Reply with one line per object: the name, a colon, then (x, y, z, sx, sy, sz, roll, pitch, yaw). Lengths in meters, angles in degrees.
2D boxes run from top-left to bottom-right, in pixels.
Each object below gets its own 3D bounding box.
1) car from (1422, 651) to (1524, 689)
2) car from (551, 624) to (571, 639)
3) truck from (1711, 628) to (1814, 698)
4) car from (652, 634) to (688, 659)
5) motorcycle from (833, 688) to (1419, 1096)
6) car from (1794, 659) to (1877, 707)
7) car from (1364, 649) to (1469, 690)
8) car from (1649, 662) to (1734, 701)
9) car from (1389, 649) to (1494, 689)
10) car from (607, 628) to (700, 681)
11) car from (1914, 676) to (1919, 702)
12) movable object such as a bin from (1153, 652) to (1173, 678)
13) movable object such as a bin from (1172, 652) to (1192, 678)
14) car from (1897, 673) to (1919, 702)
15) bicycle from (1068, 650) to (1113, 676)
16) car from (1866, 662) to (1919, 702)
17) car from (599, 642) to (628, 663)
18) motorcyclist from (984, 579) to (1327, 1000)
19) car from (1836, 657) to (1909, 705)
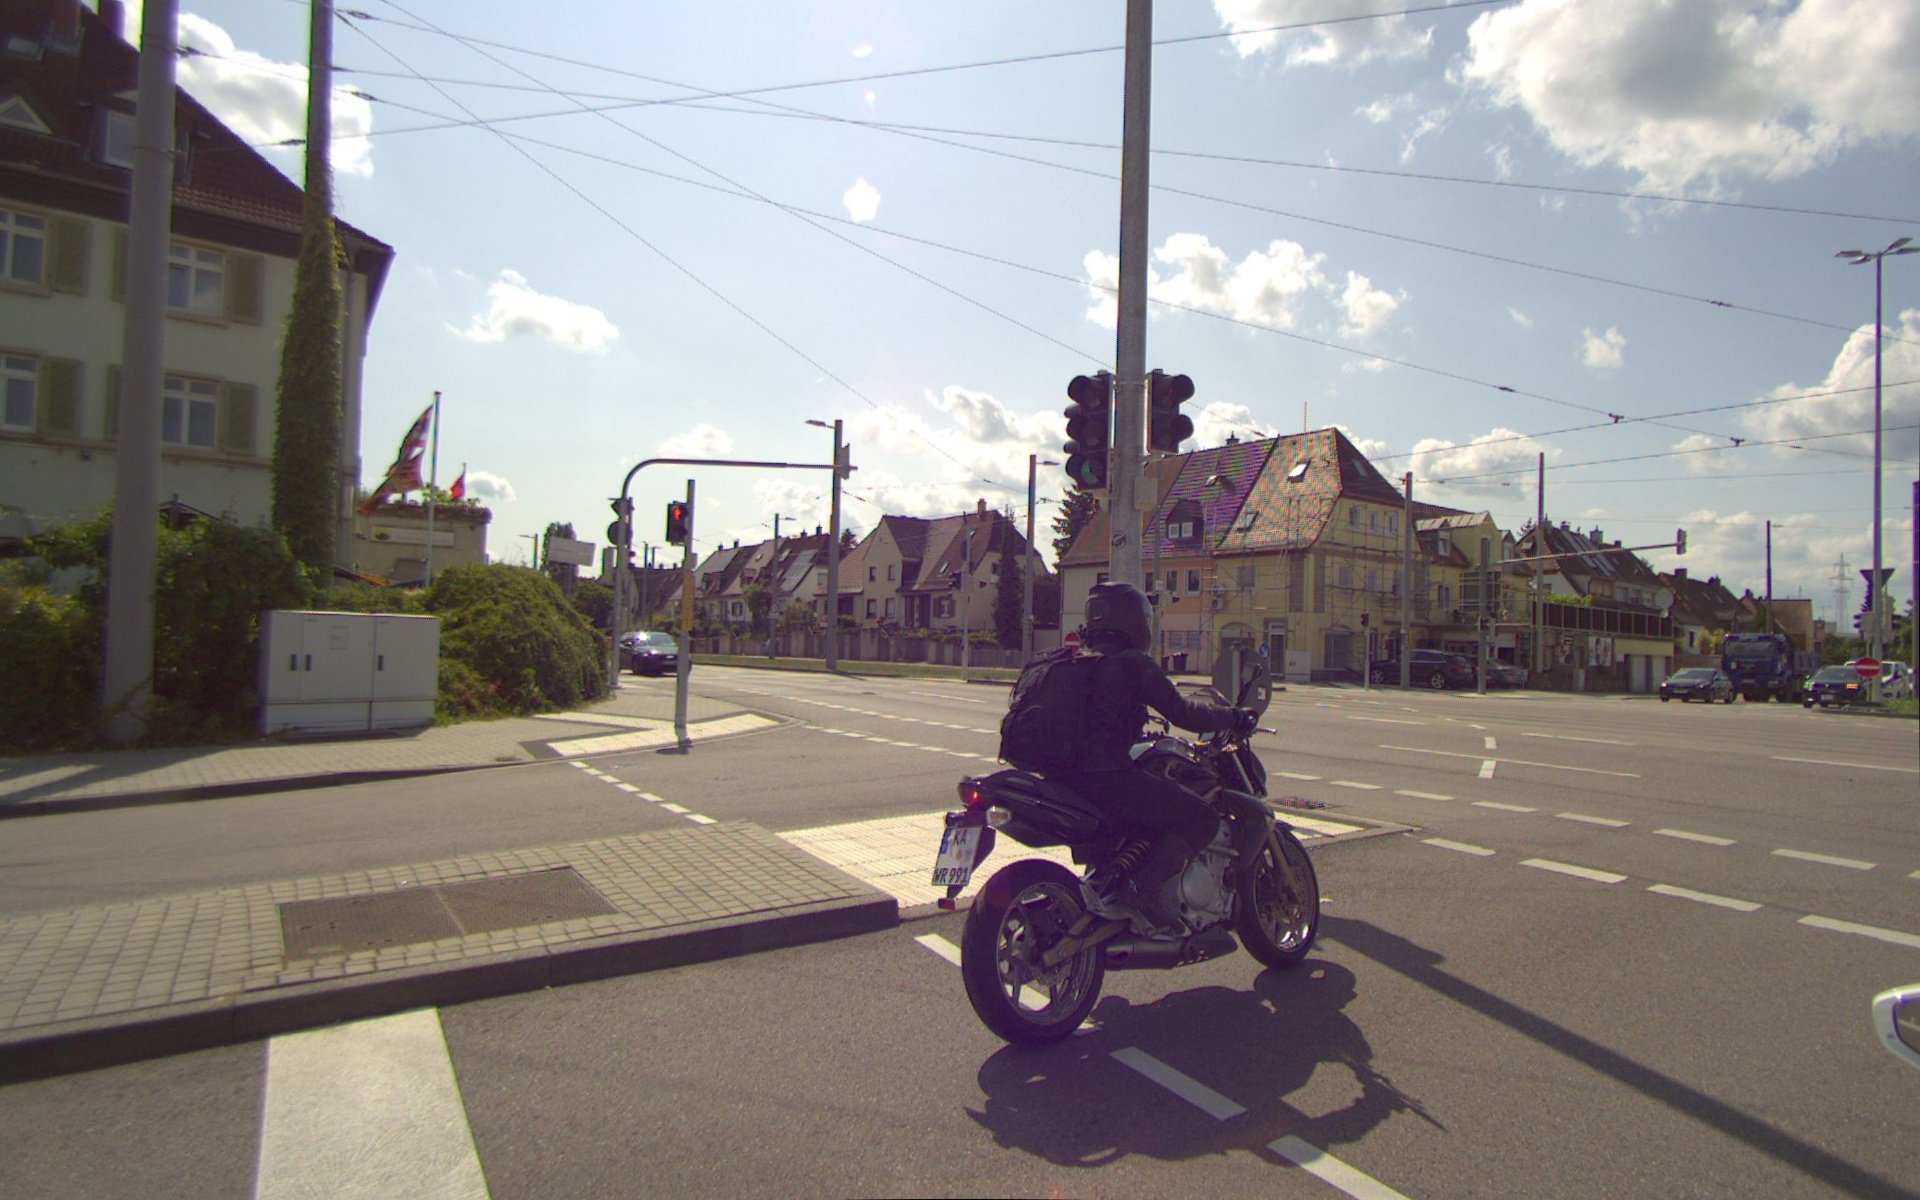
car: (24.452, 3.323, 47.978, 1.423, 1.513, 4.100, 3, -1, -40)
car: (-54.843, 4.339, 137.983, 1.977, 2.040, 3.969, 2, -3, -30)
truck: (40.136, 3.174, 50.143, 7.524, 3.230, 2.745, 4, -3, -41)
car: (-24.184, 3.867, 83.778, 1.977, 2.040, 3.969, 2, -3, -30)
motorcycle: (0.746, 0.952, 3.980, 2.333, 1.142, 0.836, 3, -3, -33)
car: (34.703, 3.250, 39.800, 4.404, 1.743, 1.772, 3, -3, -39)
car: (20.242, 3.054, 44.659, 1.170, 1.513, 4.100, 3, -1, -39)
car: (31.177, 3.468, 42.760, 4.296, 1.506, 1.814, 4, -3, -38)
car: (22.224, 3.169, 46.486, 1.495, 1.513, 4.100, 3, -1, -40)
car: (-10.129, 1.765, 33.081, 1.731, 1.604, 3.885, 3, -3, -36)
car: (56.253, 5.142, 57.572, 4.878, 1.432, 1.828, 4, -4, -41)
movable object such as a bin: (10.147, 3.228, 50.117, 0.675, 1.277, 0.677, 3, -1, -36)
movable object such as a bin: (11.244, 3.286, 50.853, 0.675, 1.277, 0.677, 3, -1, -36)
car: (50.970, 4.628, 52.960, 3.969, 1.437, 1.899, 4, -4, -41)
bicycle: (7.110, 3.417, 54.600, 2.430, 1.373, 0.769, 3, -1, -32)
car: (45.665, 3.987, 48.930, 4.371, 1.805, 1.718, 4, -4, -41)
car: (-33.831, 5.115, 98.004, 1.977, 2.040, 3.969, 2, -3, -30)
motorcyclist: (0.768, 0.634, 4.006, 1.087, 1.417, 0.818, 0, 1, -31)
car: (39.739, 3.515, 43.720, 4.712, 1.947, 1.799, 4, -3, -41)
